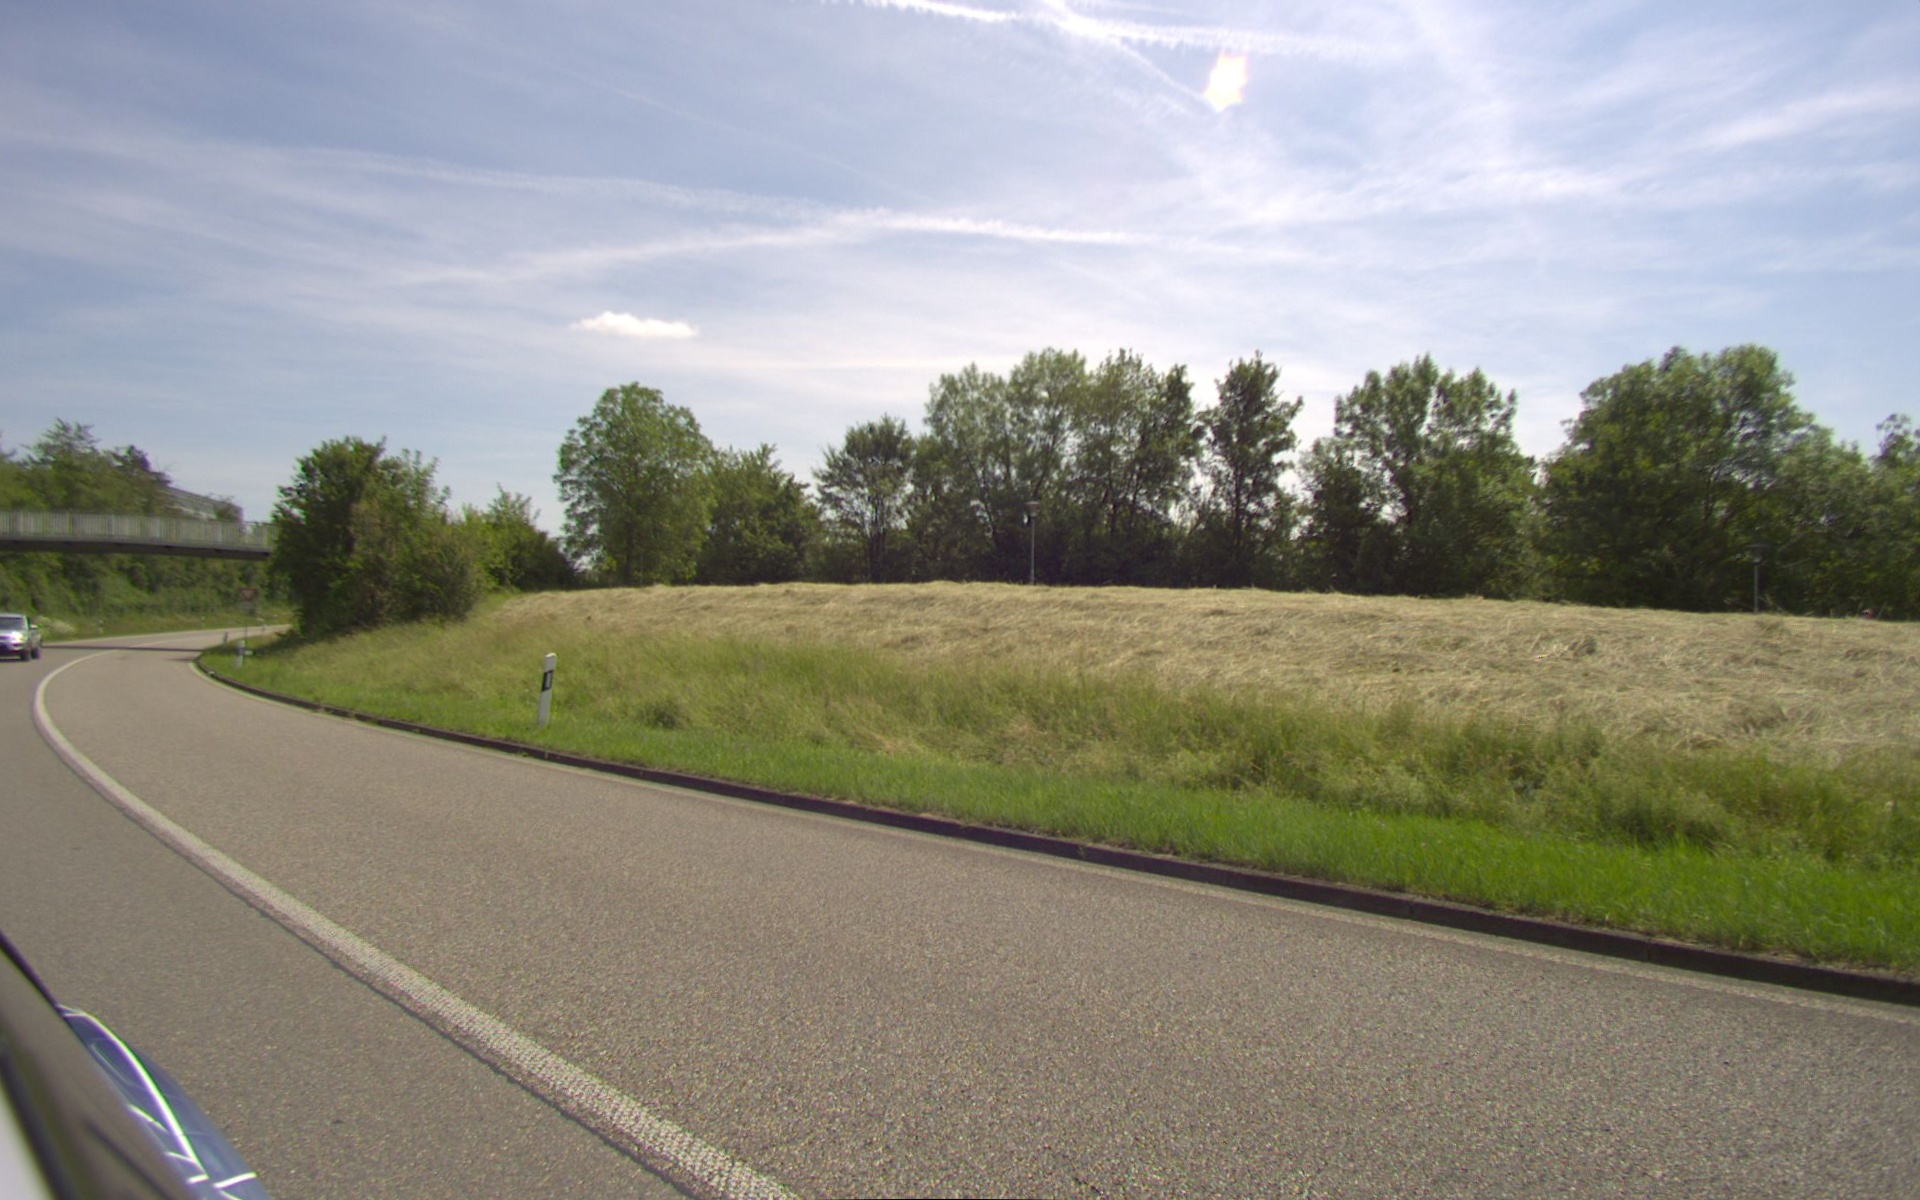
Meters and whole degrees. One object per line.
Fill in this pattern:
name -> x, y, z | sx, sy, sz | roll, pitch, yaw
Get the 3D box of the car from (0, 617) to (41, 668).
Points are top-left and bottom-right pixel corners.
car -> -34.500, 1.483, 36.202 | 1.819, 1.721, 4.099 | 2, -2, -35
